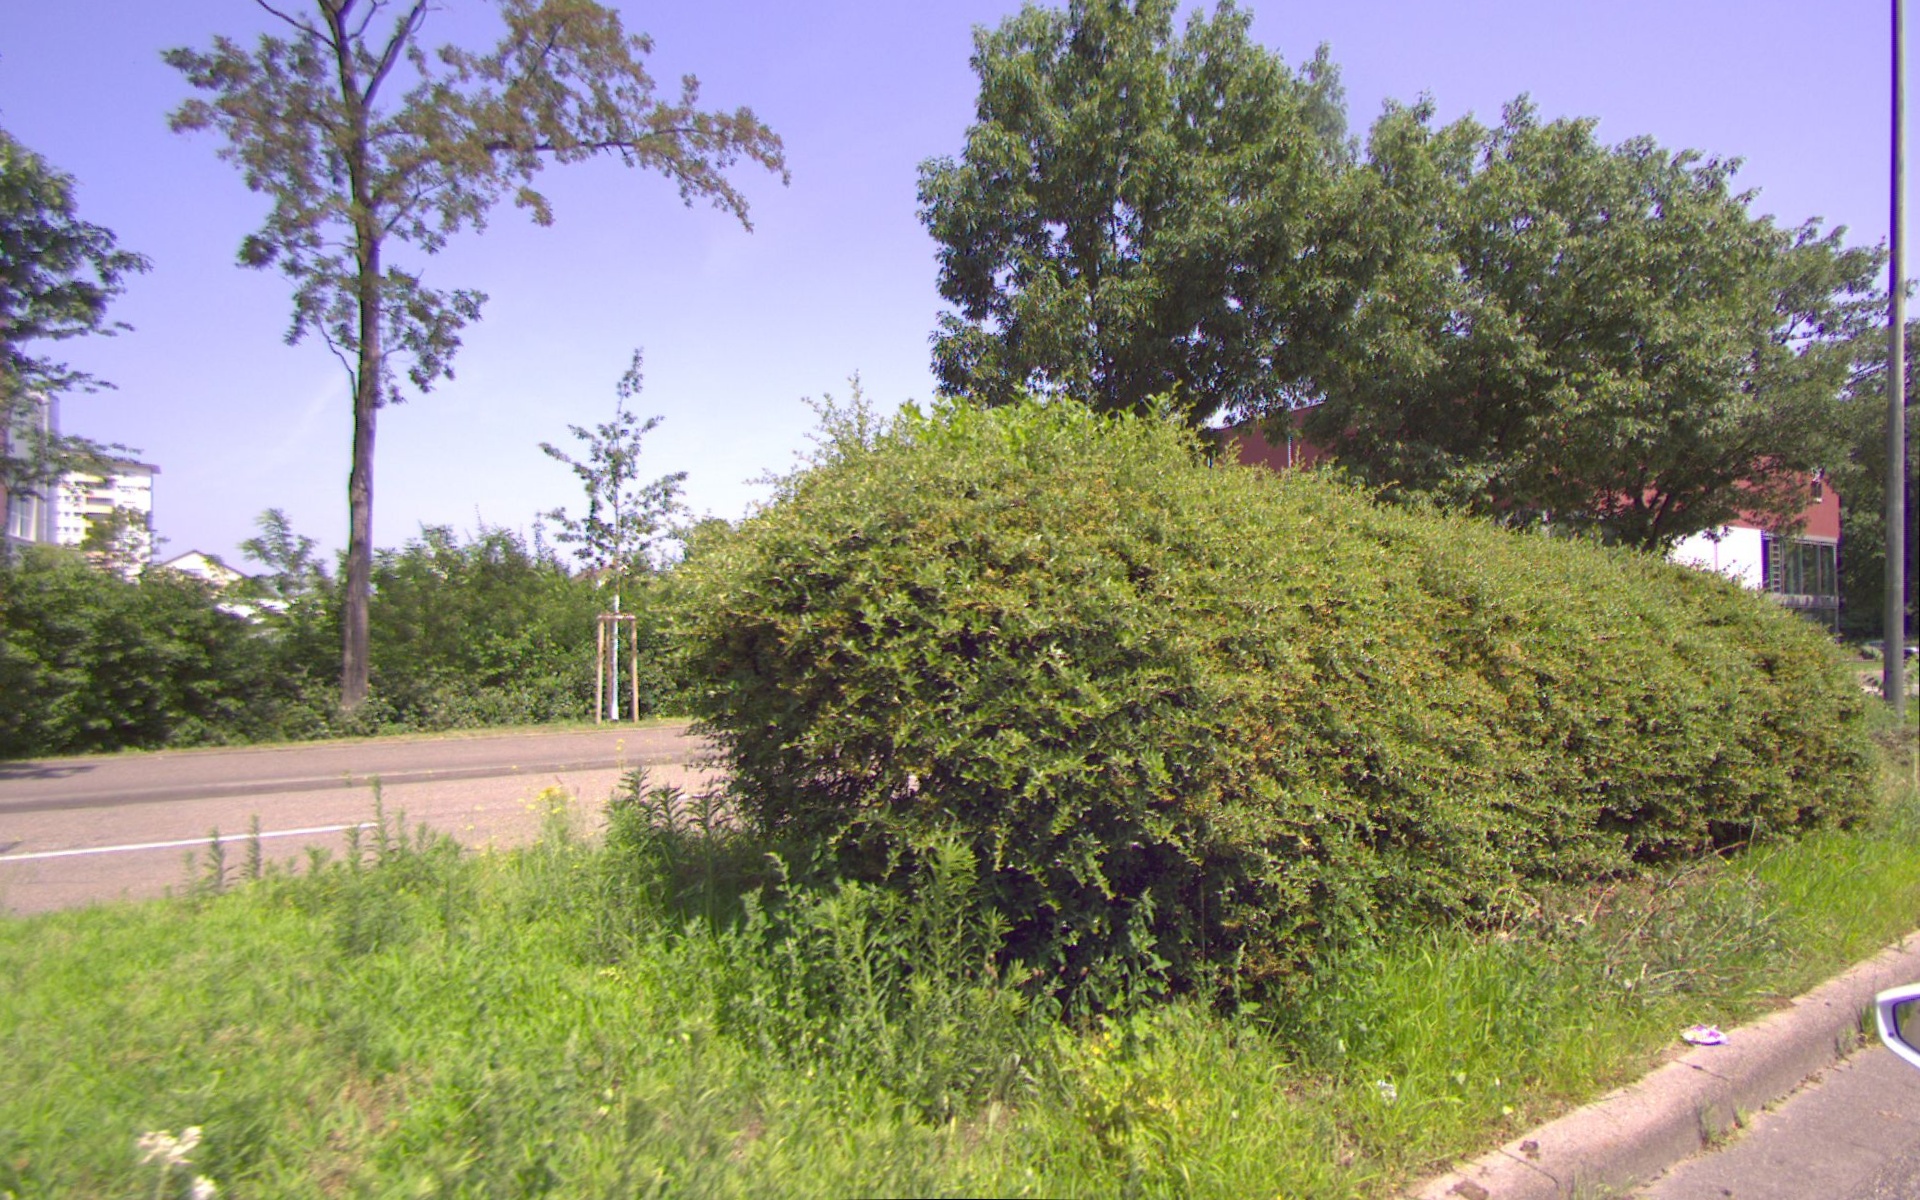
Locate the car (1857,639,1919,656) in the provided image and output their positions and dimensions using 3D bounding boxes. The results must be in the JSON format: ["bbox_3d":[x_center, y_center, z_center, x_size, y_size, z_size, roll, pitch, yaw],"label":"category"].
[{"bbox_3d":[79.920,4.058,86.351,1.574,1.416,3.960,1,-2,-36],"label":"car"}]
